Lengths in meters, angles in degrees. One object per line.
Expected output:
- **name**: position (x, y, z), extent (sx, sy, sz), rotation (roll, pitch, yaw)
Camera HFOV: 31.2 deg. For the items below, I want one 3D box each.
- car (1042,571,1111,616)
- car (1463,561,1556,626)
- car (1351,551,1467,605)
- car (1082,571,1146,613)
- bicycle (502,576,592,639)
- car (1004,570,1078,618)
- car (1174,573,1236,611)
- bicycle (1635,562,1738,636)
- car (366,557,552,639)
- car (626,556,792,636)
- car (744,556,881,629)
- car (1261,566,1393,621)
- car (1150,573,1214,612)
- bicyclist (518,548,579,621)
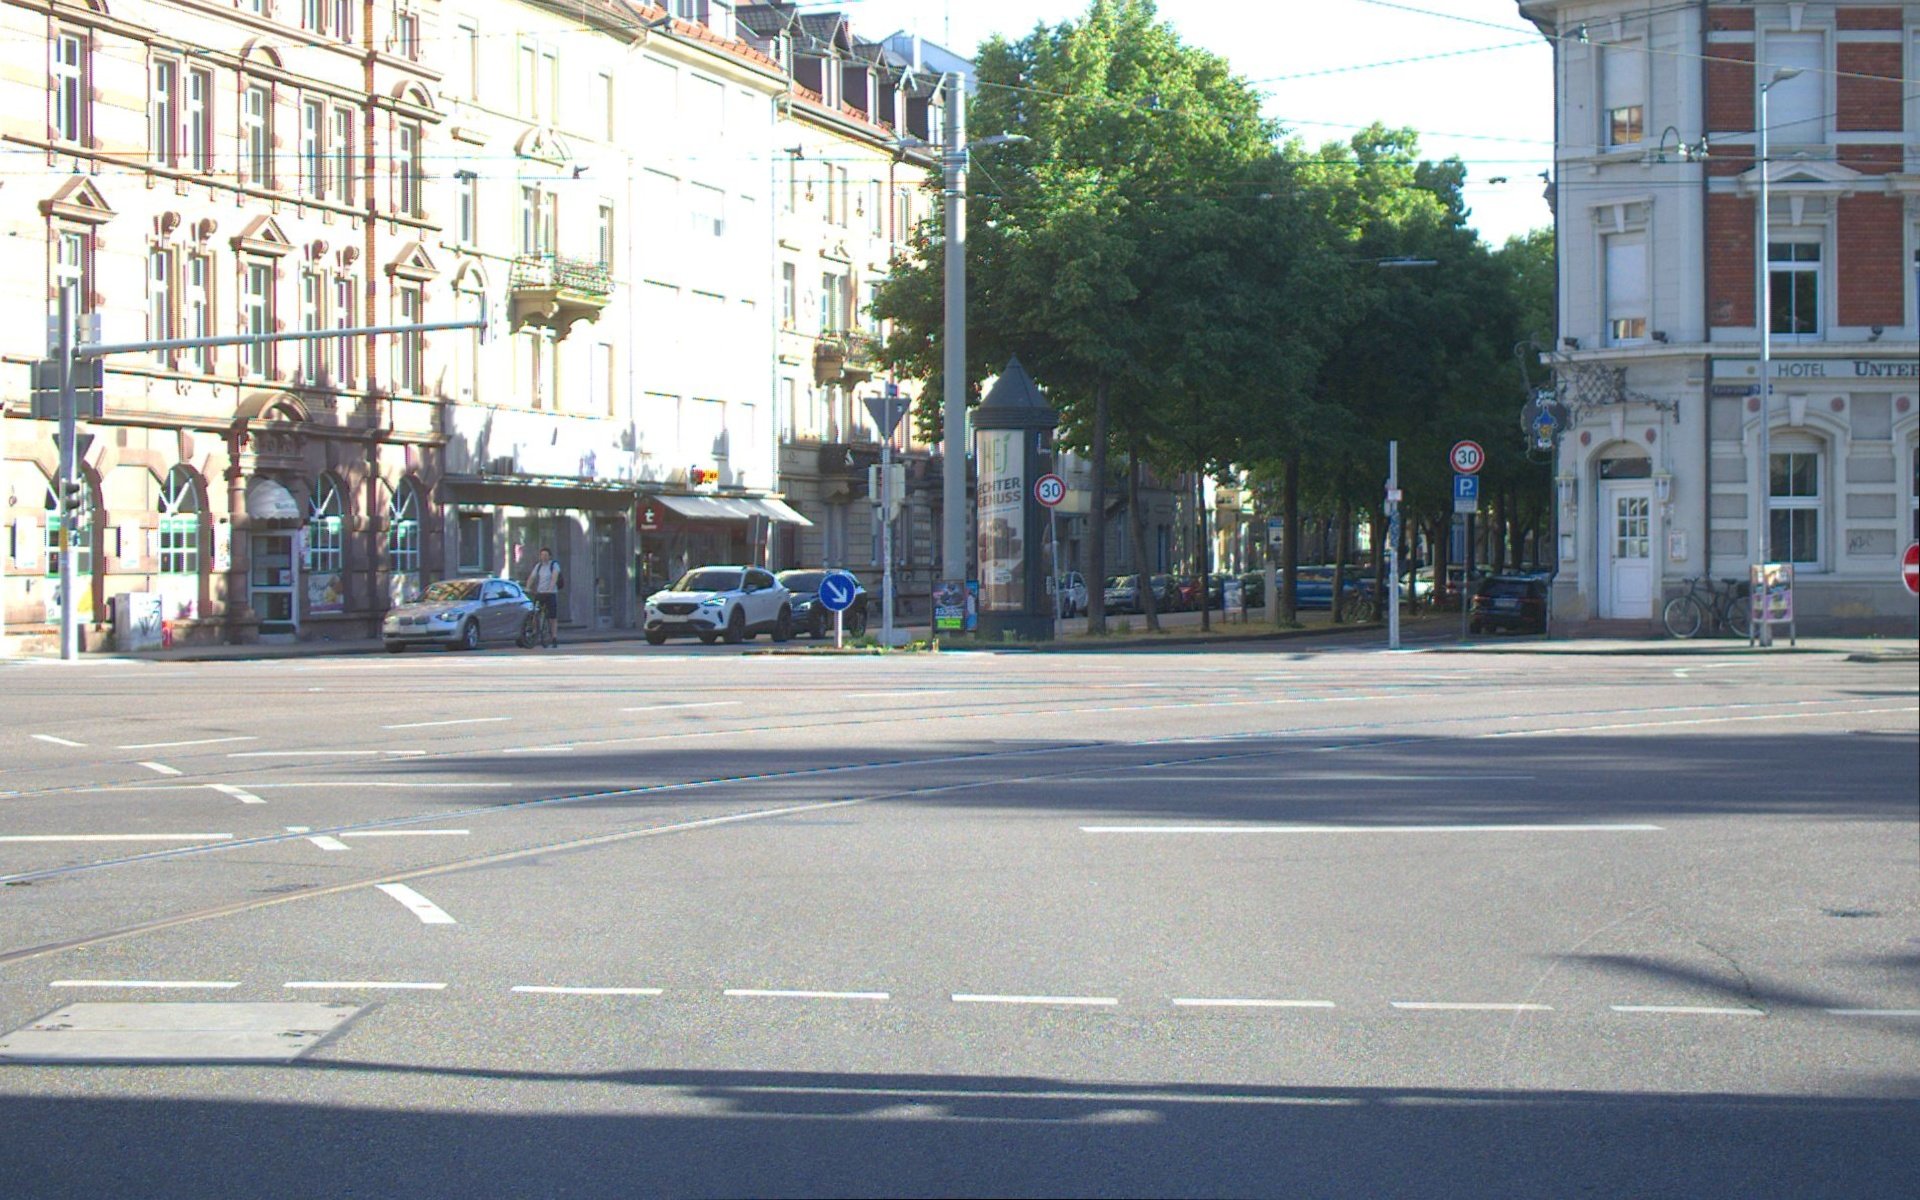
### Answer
- **car**: position (3.930, -0.245, 115.804), extent (1.741, 1.393, 4.122), rotation (3, 1, 9)
- **car**: position (13.175, -0.148, 82.284), extent (1.652, 1.519, 3.750), rotation (0, 0, 17)
- **car**: position (17.419, -0.864, 133.422), extent (4.115, 1.912, 1.744), rotation (3, 1, 21)
- **car**: position (5.517, -0.292, 122.781), extent (1.741, 1.393, 4.122), rotation (3, 1, 9)
- **bicycle**: position (-7.860, 0.133, 65.627), extent (0.751, 1.131, 2.808), rotation (0, 1, 14)
- **car**: position (2.606, -0.206, 109.999), extent (1.741, 1.393, 4.122), rotation (3, 1, 9)
- **car**: position (9.737, -0.336, 136.384), extent (1.742, 1.393, 4.121), rotation (3, 1, 13)
- **bicycle**: position (12.068, -0.027, 57.132), extent (1.639, 1.218, 0.606), rotation (0, 1, 16)
- **car**: position (-9.770, -0.065, 67.379), extent (2.098, 1.540, 4.361), rotation (0, 1, 14)
- **car**: position (-4.872, -0.097, 67.164), extent (2.098, 1.494, 3.998), rotation (0, 1, 14)
- **car**: position (-3.122, -0.183, 73.531), extent (1.994, 1.508, 3.998), rotation (0, 1, 12)
- **car**: position (12.300, -0.215, 115.223), extent (4.113, 1.640, 1.745), rotation (3, 1, 15)
- **car**: position (8.518, -0.301, 131.605), extent (1.742, 1.393, 4.121), rotation (3, 1, 13)
- **bicyclist**: position (-7.847, -0.308, 65.590), extent (0.794, 1.370, 1.107), rotation (0, 1, 14)
